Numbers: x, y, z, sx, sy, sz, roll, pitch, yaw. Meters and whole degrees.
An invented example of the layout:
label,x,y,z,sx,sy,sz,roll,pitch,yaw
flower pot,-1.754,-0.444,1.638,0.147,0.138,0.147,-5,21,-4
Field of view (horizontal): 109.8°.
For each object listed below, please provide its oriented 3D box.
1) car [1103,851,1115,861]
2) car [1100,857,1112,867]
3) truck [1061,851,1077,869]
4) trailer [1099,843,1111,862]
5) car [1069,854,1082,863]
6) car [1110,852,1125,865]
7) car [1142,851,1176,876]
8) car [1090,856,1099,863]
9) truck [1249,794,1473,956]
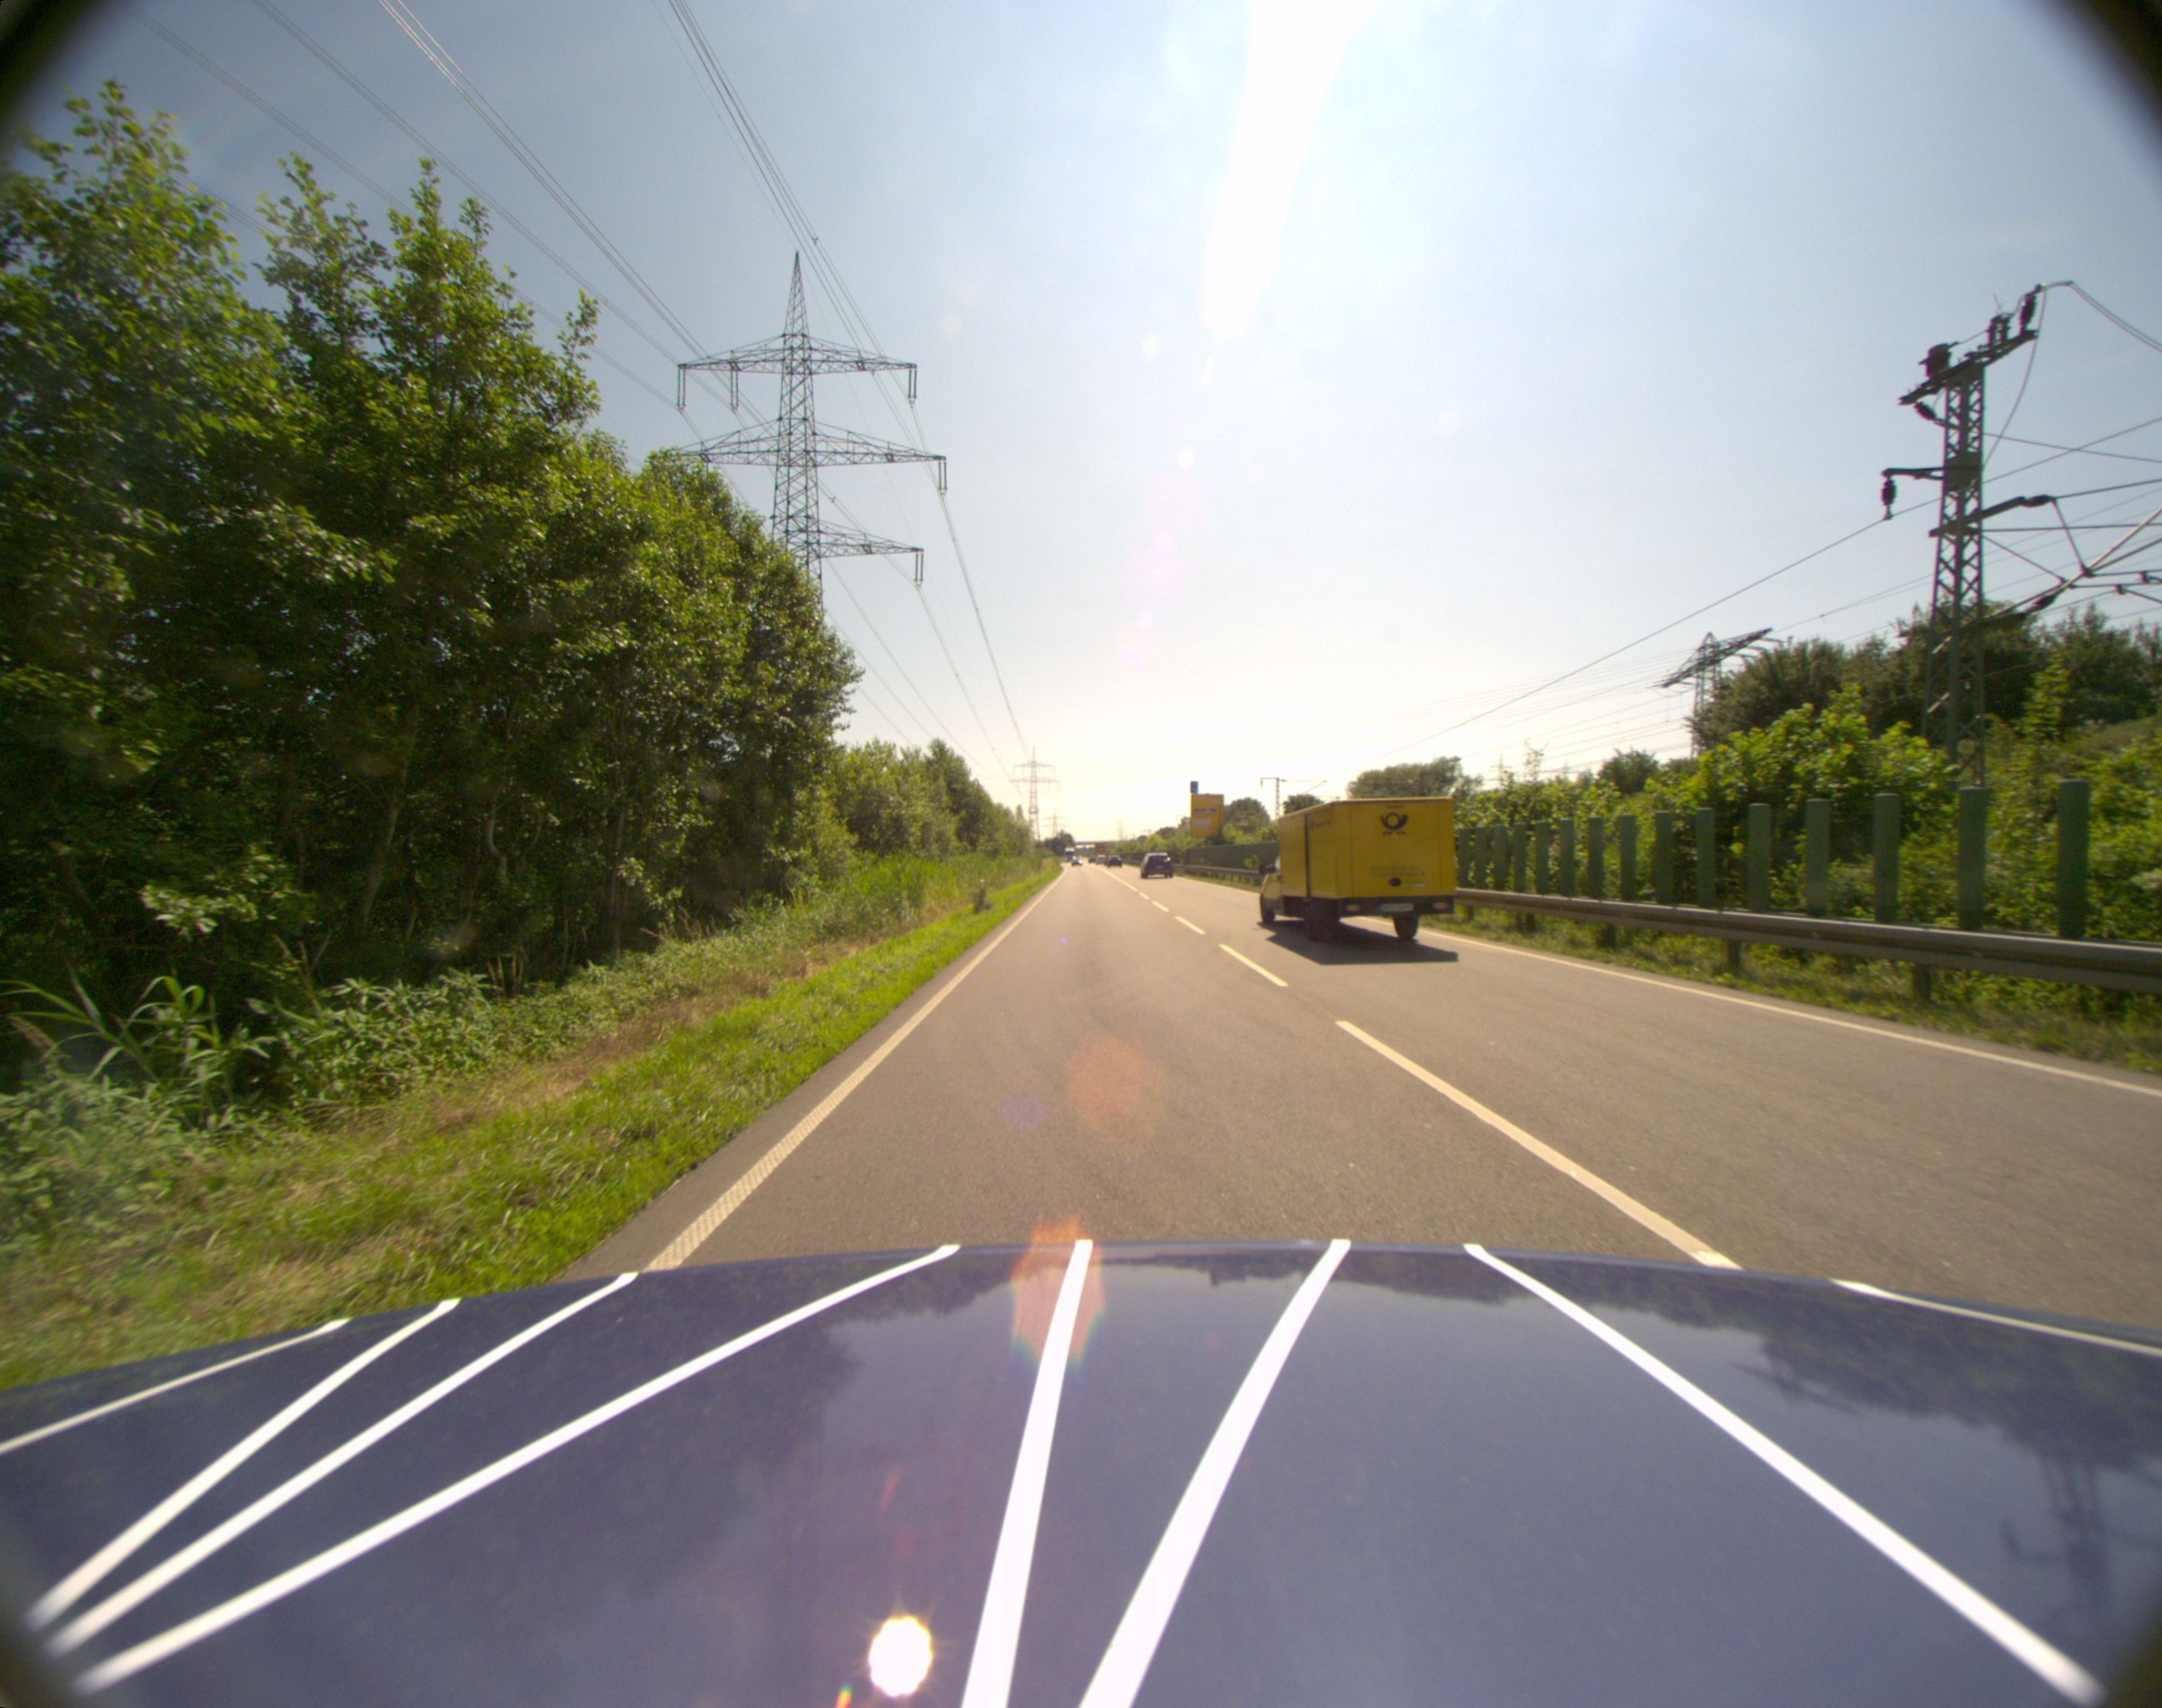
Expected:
label,x,y,z,sx,sy,sz,roll,pitch,yaw
car,4.228,0.248,115.120,1.510,1.426,3.742,-2,0,-1
car,4.240,1.285,130.137,1.829,1.596,4.323,-2,0,1
truck,-3.276,1.601,211.617,4.219,4.608,21.301,-2,0,-1
trailer,5.565,-0.397,176.978,2.555,4.120,9.227,-2,0,0
car,-0.828,0.715,120.721,1.999,1.346,4.157,-3,1,-1
car,4.699,0.568,97.408,1.677,1.506,4.288,-1,0,0
car,5.186,0.619,50.809,1.806,1.578,4.370,-1,0,0
car,2.757,1.138,153.984,1.618,1.433,3.794,-2,0,-1
truck,4.786,0.309,14.184,1.998,2.334,6.011,-1,0,1
